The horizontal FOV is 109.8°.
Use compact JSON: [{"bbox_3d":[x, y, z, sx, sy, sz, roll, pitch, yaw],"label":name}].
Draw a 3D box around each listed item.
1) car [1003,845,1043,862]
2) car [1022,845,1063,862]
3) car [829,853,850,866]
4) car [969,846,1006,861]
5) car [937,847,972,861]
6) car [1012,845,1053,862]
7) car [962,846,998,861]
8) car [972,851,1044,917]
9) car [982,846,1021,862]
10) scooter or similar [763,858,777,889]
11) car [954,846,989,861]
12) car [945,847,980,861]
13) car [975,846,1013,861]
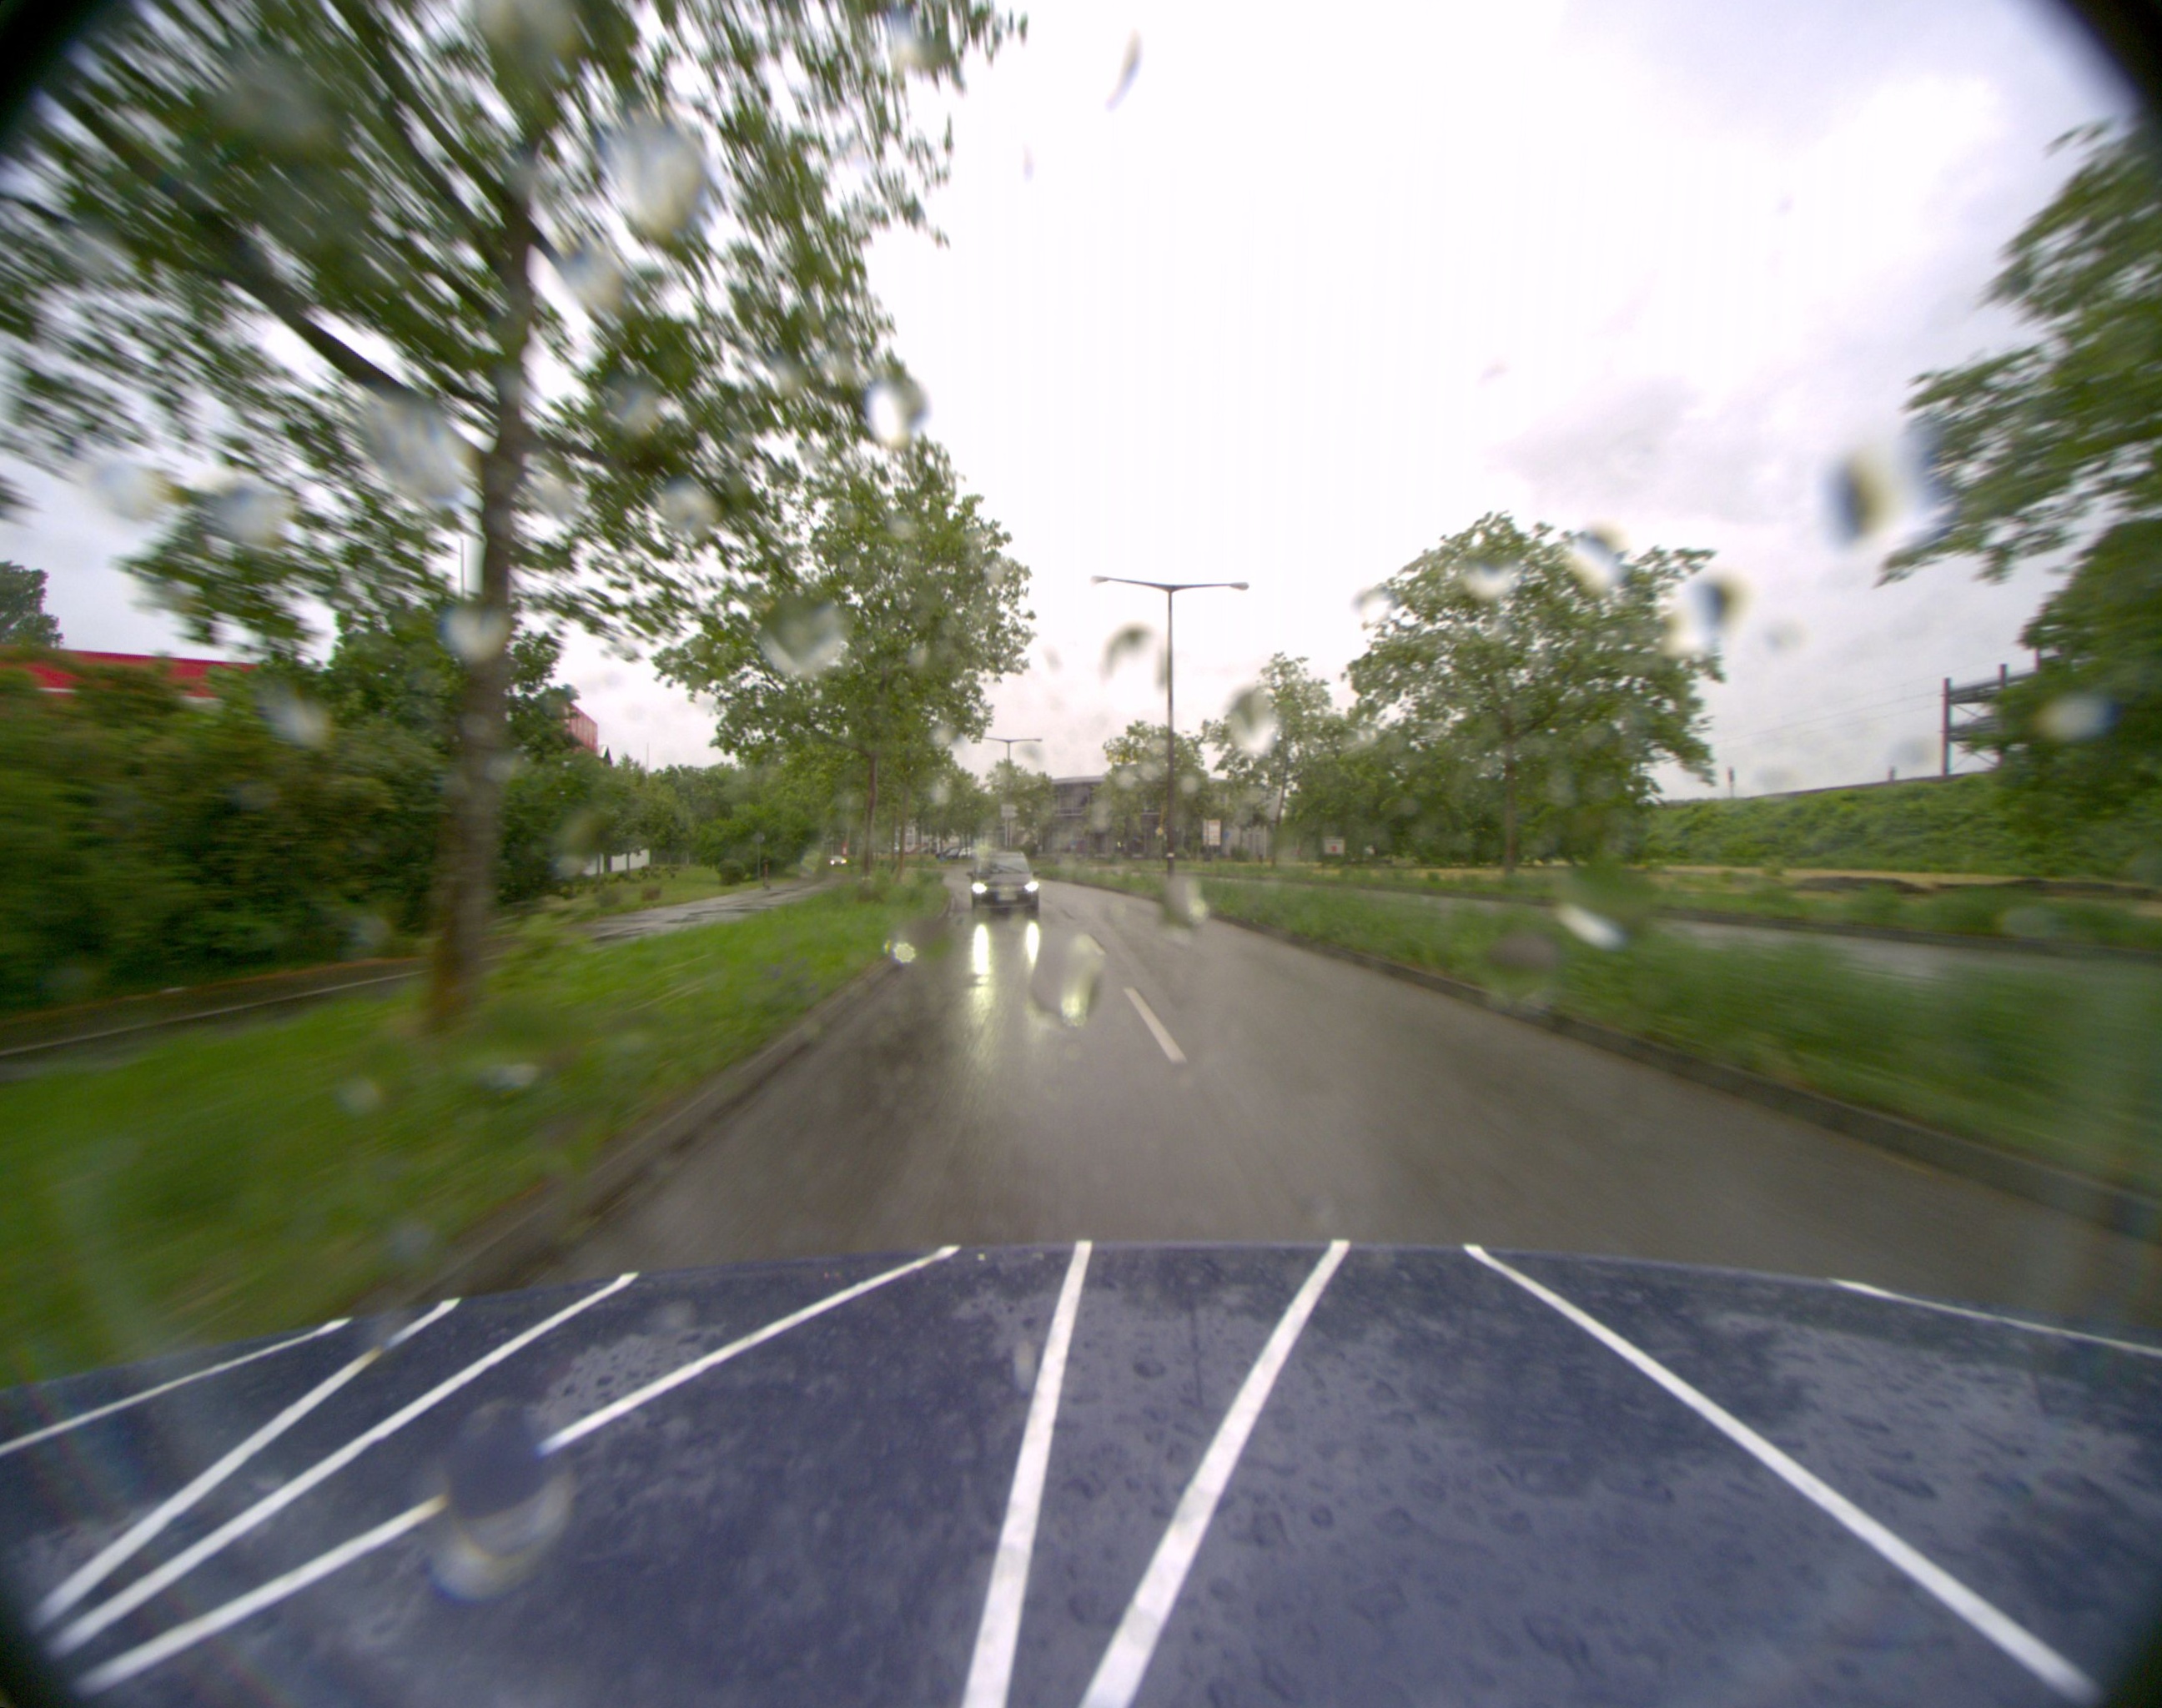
[{"bbox_3d":[-6.433,-0.038,84.323,4.007,1.650,1.860,-3,2,-39],"label":"car"},{"bbox_3d":[-4.060,-0.051,81.178,4.007,1.650,1.860,-3,2,-39],"label":"car"},{"bbox_3d":[-30.792,0.704,96.724,2.003,1.641,3.991,-2,1,-26],"label":"car"},{"bbox_3d":[-11.316,-0.065,91.895,4.007,1.650,1.860,-3,2,-39],"label":"car"},{"bbox_3d":[-16.386,-0.041,98.752,4.007,1.650,1.860,-3,2,-39],"label":"car"},{"bbox_3d":[-5.255,-0.044,82.752,4.007,1.650,1.860,-3,2,-39],"label":"car"},{"bbox_3d":[-12.468,-0.069,93.858,4.007,1.650,1.860,-3,2,-39],"label":"car"},{"bbox_3d":[-2.181,0.761,21.904,1.789,1.605,4.713,-2,1,-7],"label":"car"},{"bbox_3d":[-9.183,-0.052,87.949,4.007,1.650,1.860,-3,2,-39],"label":"car"},{"bbox_3d":[-13.051,0.812,31.877,0.451,1.267,1.598,-1,1,-25],"label":"scooter or similar"},{"bbox_3d":[-13.764,-0.066,95.736,4.007,1.650,1.860,-3,2,-39],"label":"car"},{"bbox_3d":[-15.121,-0.053,97.275,4.007,1.650,1.860,-3,2,-39],"label":"car"},{"bbox_3d":[-10.283,-0.058,89.961,4.007,1.650,1.860,-3,2,-39],"label":"car"}]
